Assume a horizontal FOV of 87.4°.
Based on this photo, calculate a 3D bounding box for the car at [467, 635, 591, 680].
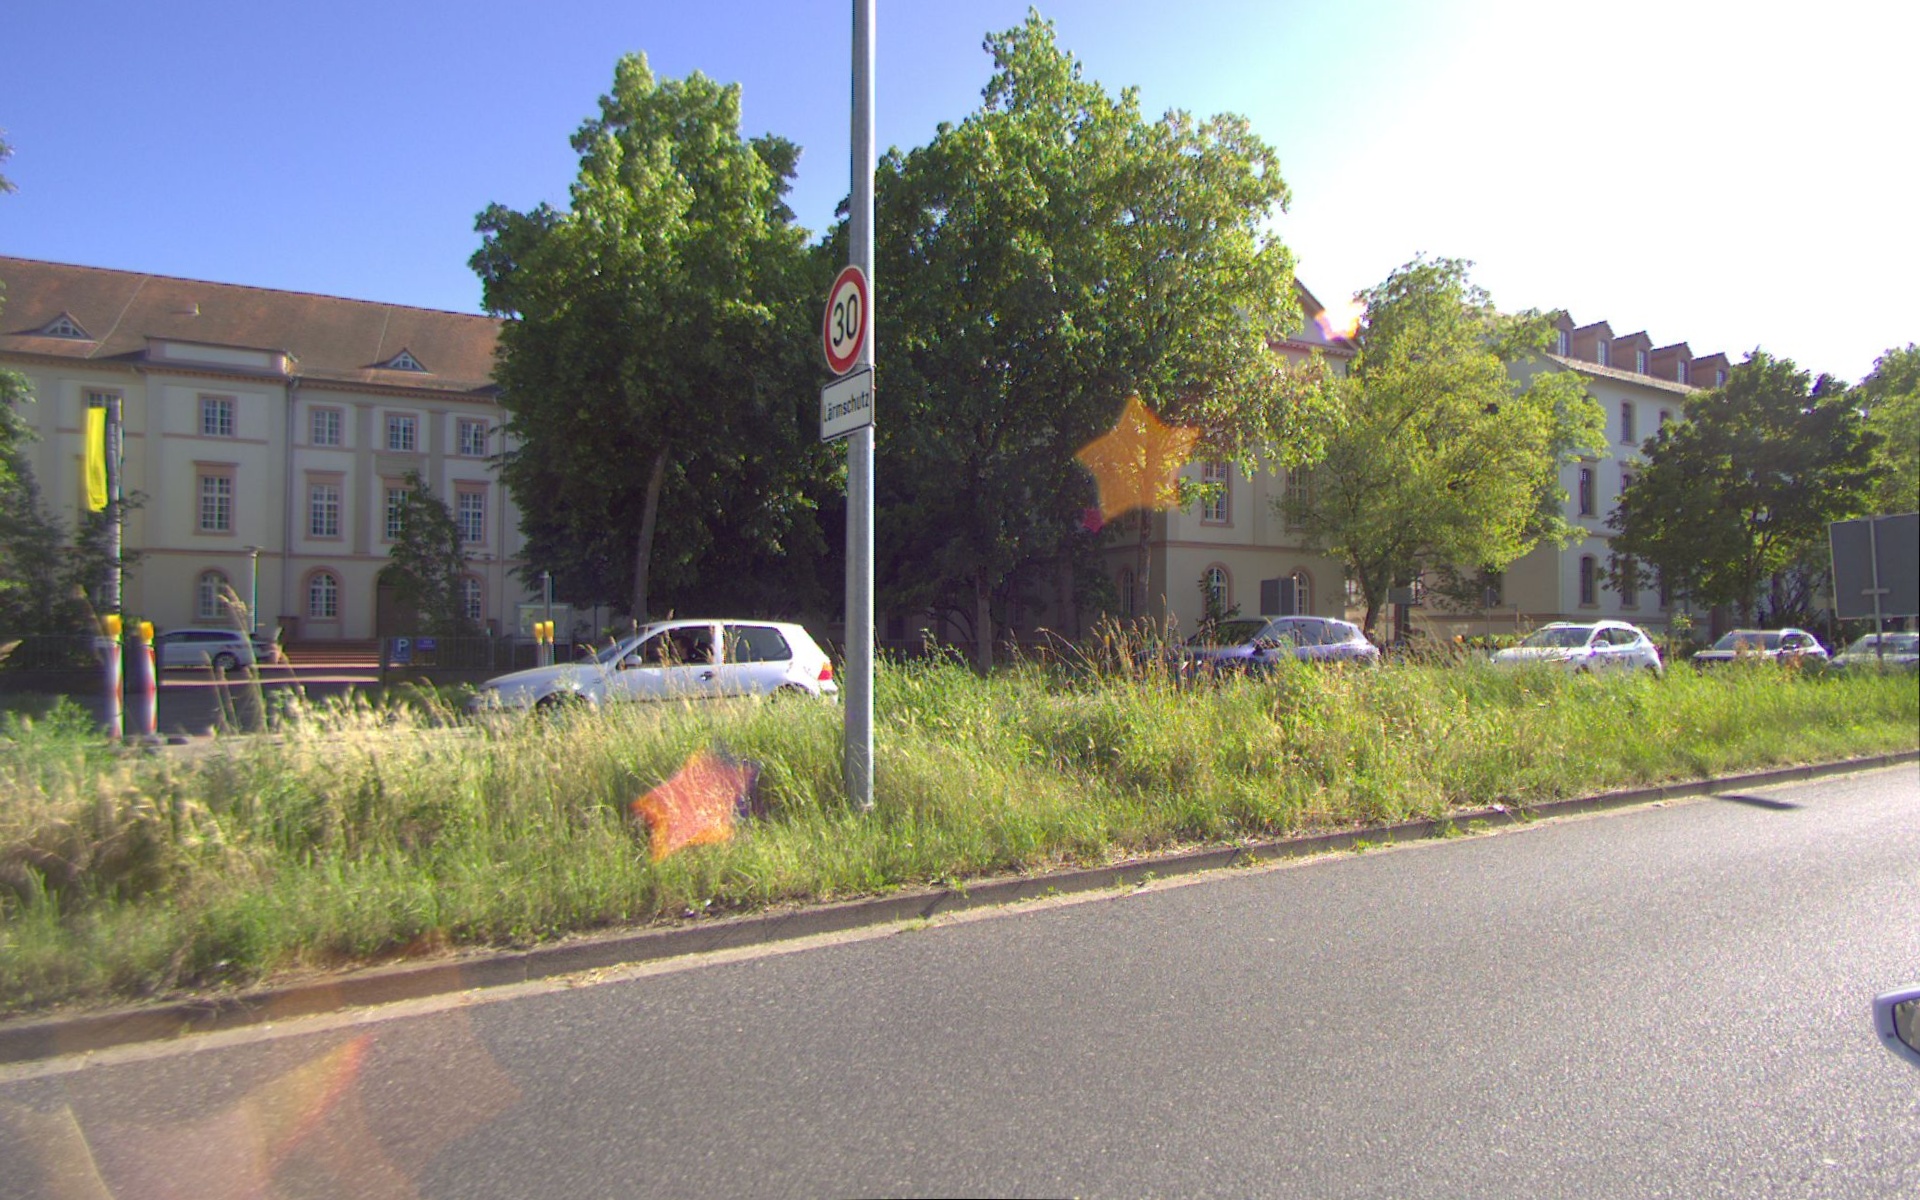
[{"bbox_3d":[-13.358,1.763,31.344,3.448,1.341,1.764,1,-2,-20],"label":"car"}]

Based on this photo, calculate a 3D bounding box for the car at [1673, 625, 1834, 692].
[{"bbox_3d":[20.117,1.488,25.428,4.209,1.539,1.787,3,-1,-30],"label":"car"}]

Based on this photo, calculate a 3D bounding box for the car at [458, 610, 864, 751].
[{"bbox_3d":[-3.400,0.844,11.647,4.210,1.369,1.787,1,-1,-31],"label":"car"}]

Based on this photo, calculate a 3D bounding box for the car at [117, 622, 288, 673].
[{"bbox_3d":[-27.115,1.722,36.179,4.632,1.511,1.634,5,-2,-30],"label":"car"}]

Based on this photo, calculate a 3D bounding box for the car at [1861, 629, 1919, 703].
[{"bbox_3d":[23.250,1.640,23.685,4.274,1.639,1.745,5,-2,-30],"label":"car"}]

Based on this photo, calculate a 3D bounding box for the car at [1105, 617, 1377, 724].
[{"bbox_3d":[4.650,1.090,16.432,4.394,1.539,1.787,2,-2,-31],"label":"car"}]

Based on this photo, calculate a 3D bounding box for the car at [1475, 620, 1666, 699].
[{"bbox_3d":[13.132,1.221,21.542,4.210,1.539,1.787,1,-1,-31],"label":"car"}]
